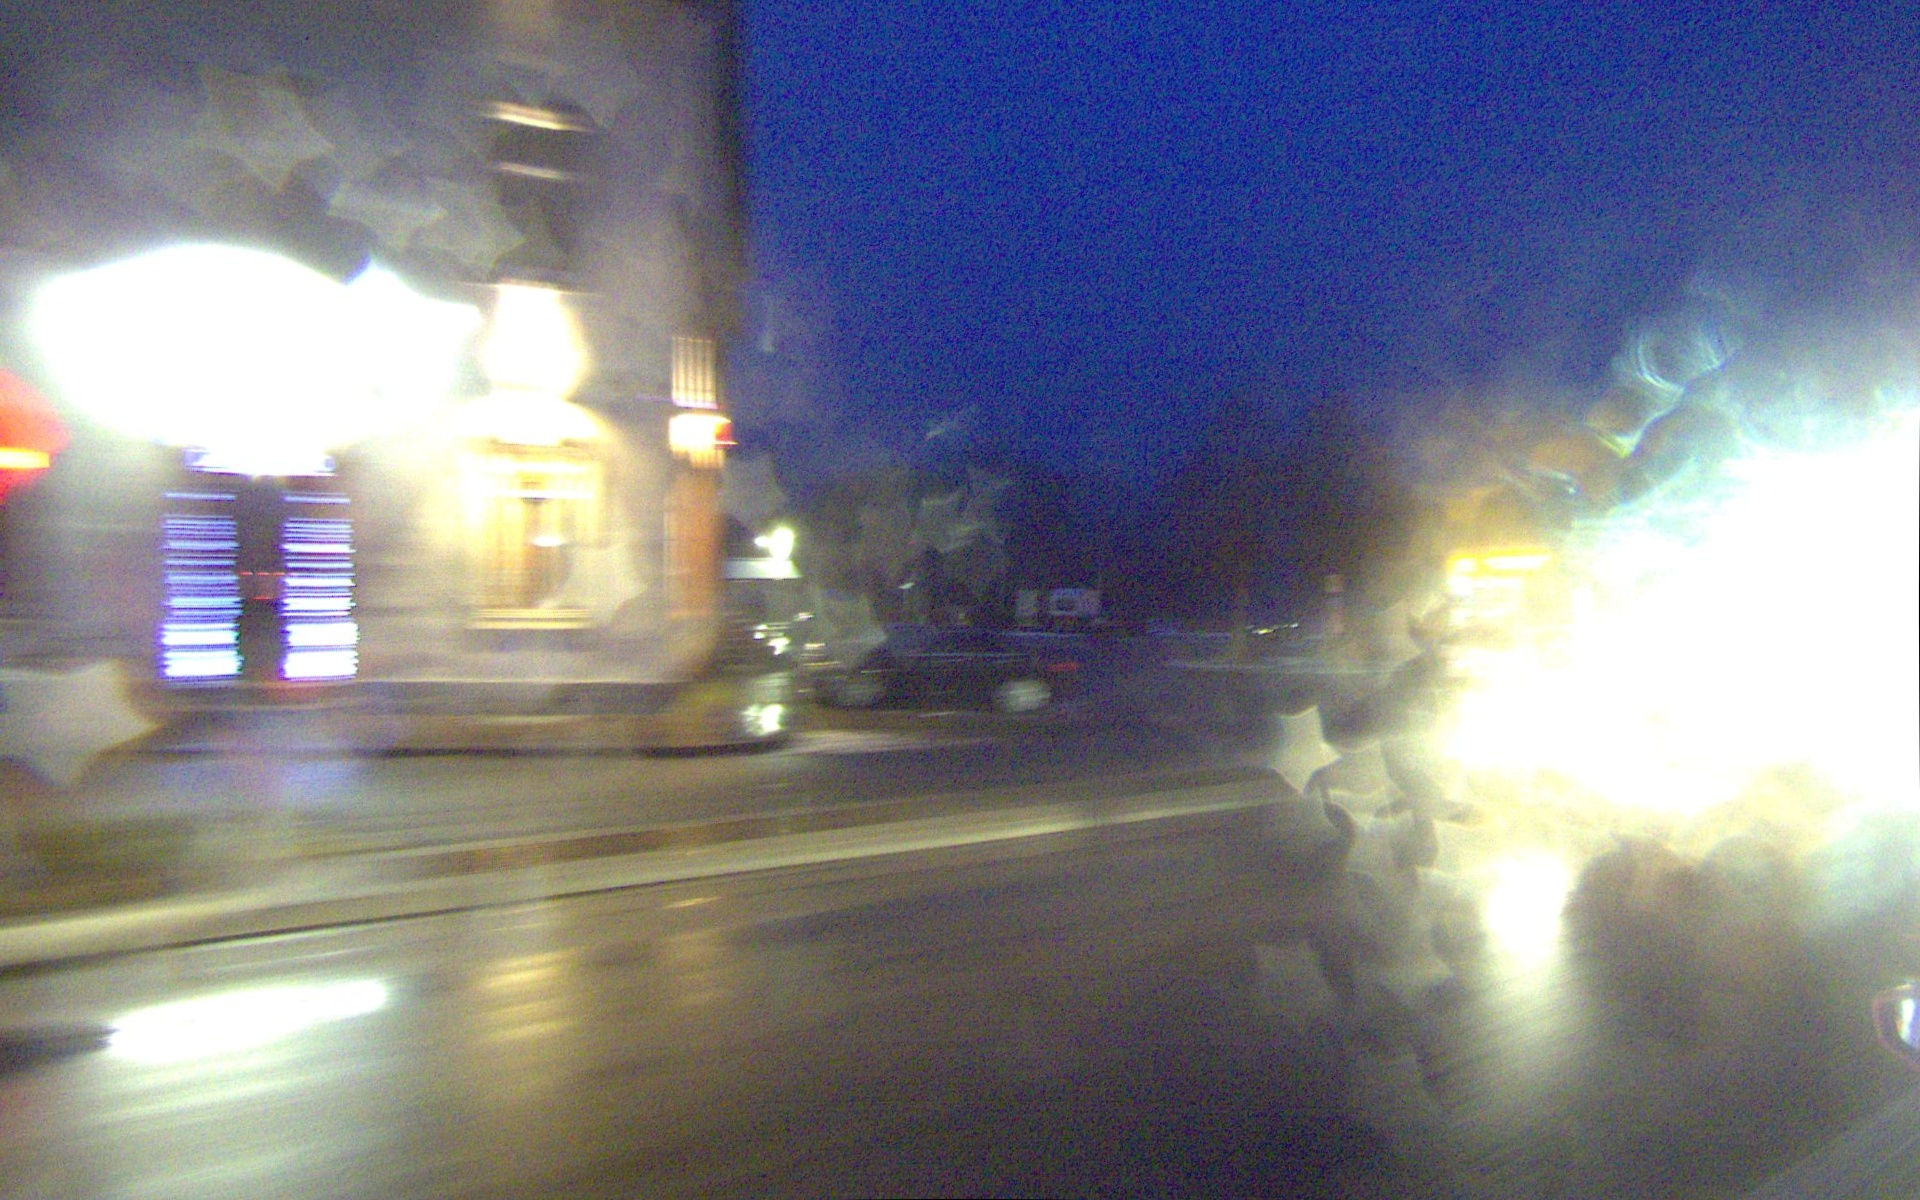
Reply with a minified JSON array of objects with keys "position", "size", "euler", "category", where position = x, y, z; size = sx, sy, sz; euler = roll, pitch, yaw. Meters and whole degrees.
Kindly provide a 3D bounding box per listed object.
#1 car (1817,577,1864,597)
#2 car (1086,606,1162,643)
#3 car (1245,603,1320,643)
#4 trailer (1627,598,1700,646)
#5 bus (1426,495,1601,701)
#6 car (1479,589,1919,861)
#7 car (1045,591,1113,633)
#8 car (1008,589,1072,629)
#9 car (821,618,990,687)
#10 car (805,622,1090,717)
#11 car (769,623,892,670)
[{"position":[94.564,-1.354,107.957],"size":[1.960,2.041,4.846],"euler":[3,1,18],"category":"car"},{"position":[8.579,1.281,52.269],"size":[1.912,1.720,4.611],"euler":[3,0,36],"category":"car"},{"position":[15.051,1.073,46.761],"size":[1.912,1.720,4.611],"euler":[3,0,36],"category":"car"},{"position":[27.257,0.827,38.866],"size":[1.793,1.699,4.078],"euler":[-2,-1,42],"category":"trailer"},{"position":[14.378,-0.015,25.375],"size":[2.853,3.920,13.023],"euler":[1,0,33],"category":"bus"},{"position":[5.864,0.761,7.719],"size":[3.759,1.621,1.686],"euler":[1,0,-33],"category":"car"},{"position":[6.501,0.659,54.583],"size":[1.966,2.083,3.988],"euler":[3,0,34],"category":"car"},{"position":[4.511,0.540,55.961],"size":[1.735,2.083,3.988],"euler":[3,0,34],"category":"car"},{"position":[-1.305,1.229,23.292],"size":[3.666,1.416,1.691],"euler":[3,-3,-12],"category":"car"},{"position":[-0.261,1.204,17.666],"size":[4.658,1.394,1.844],"euler":[3,0,-15],"category":"car"},{"position":[-4.402,1.570,33.862],"size":[3.969,1.416,1.857],"euler":[3,-3,-12],"category":"car"}]
